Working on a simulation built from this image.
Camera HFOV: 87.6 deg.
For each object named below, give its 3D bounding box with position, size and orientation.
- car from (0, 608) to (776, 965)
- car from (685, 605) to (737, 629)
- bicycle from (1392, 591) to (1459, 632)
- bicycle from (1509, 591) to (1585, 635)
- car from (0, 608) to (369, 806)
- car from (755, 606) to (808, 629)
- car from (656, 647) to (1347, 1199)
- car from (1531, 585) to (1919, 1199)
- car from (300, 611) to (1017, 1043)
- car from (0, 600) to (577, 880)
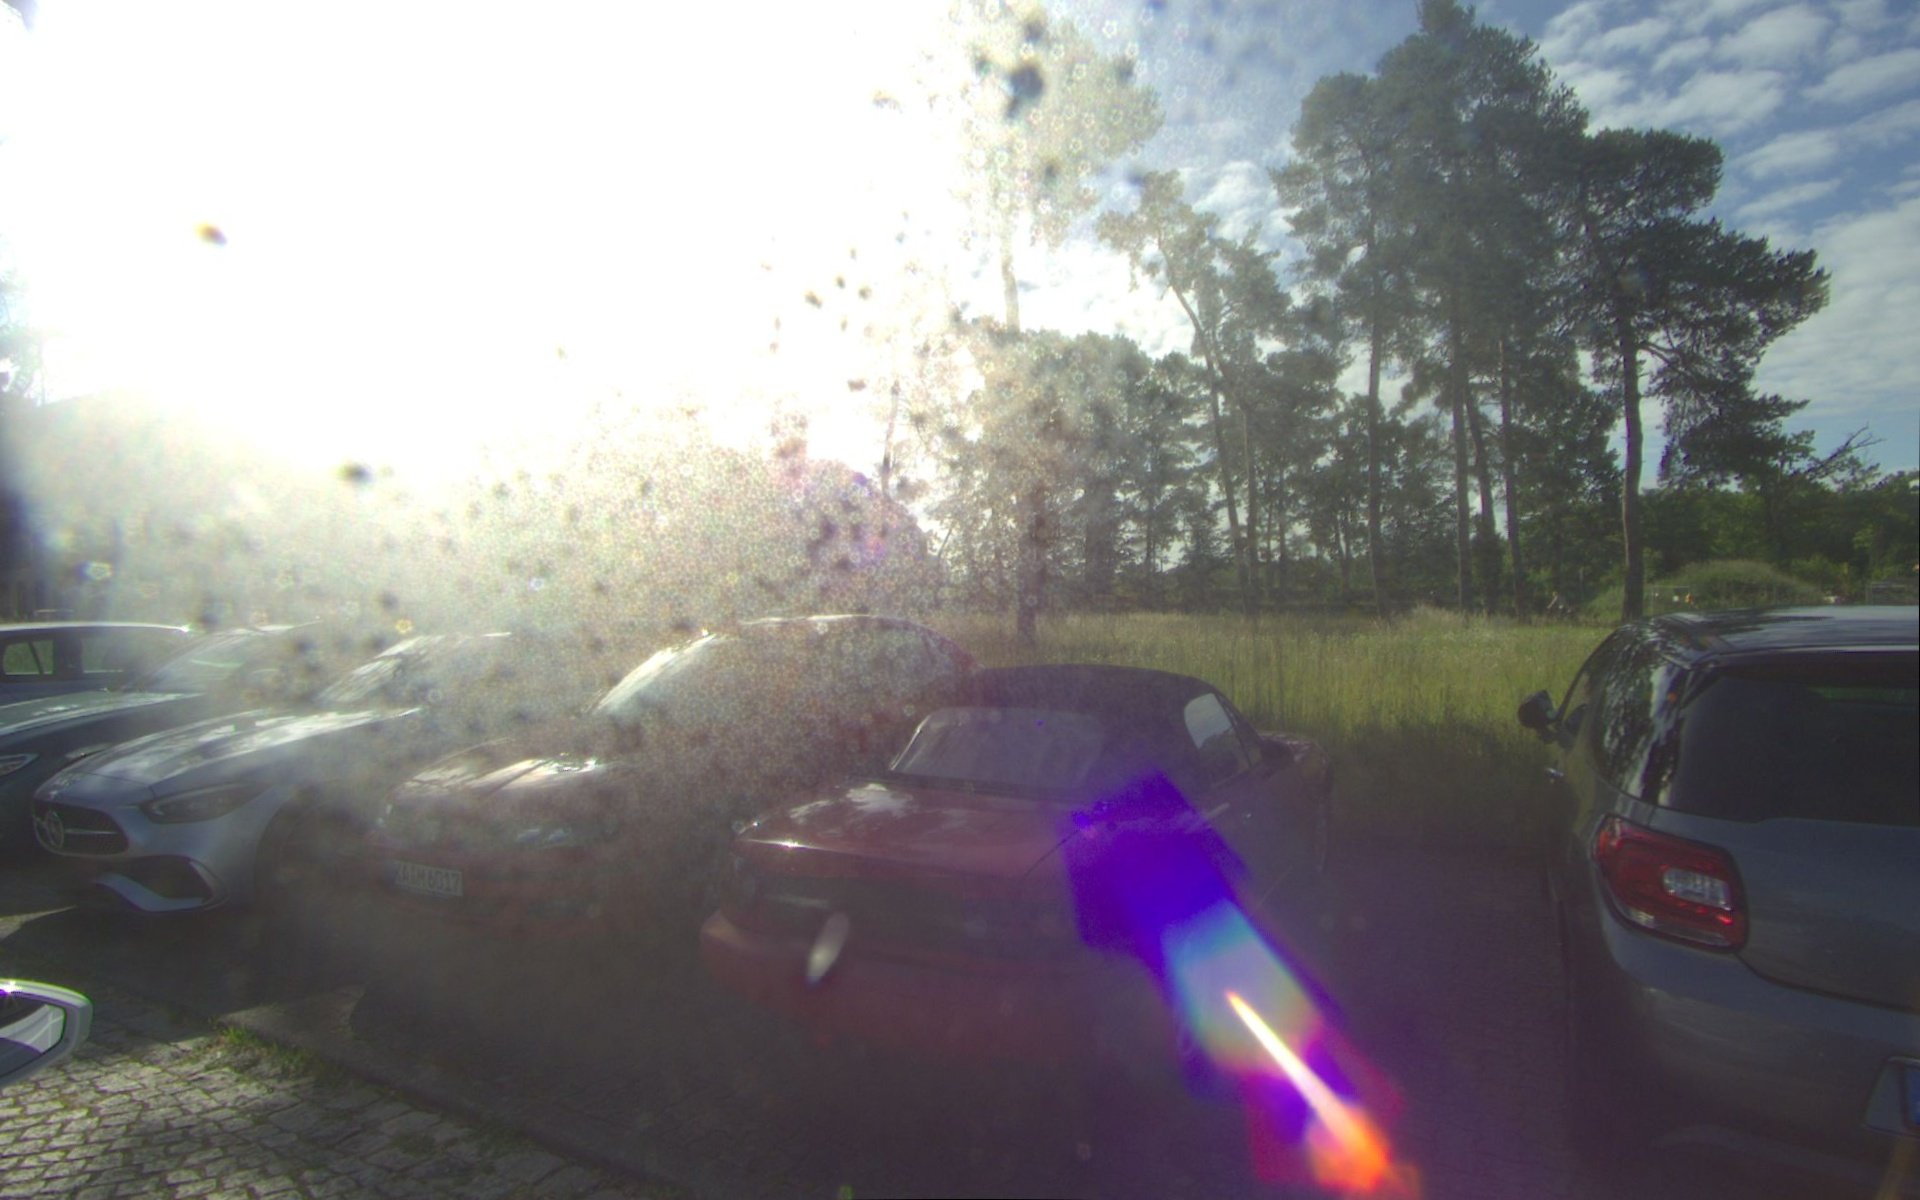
[{"bbox_3d":[-3.321,0.841,6.711,1.761,1.407,4.394,-1,1,28],"label":"car"},{"bbox_3d":[-18.870,1.279,75.962,1.741,1.693,3.629,-1,0,31],"label":"car"},{"bbox_3d":[24.462,0.599,52.637,3.083,2.040,0.949,-3,0,28],"label":"bicycle"},{"bbox_3d":[28.914,0.659,49.396,3.082,2.040,0.950,-3,0,27],"label":"bicycle"},{"bbox_3d":[-7.843,0.883,9.331,1.640,1.463,3.667,-1,2,29],"label":"car"},{"bbox_3d":[-12.759,1.250,71.688,1.741,1.517,3.629,-1,0,31],"label":"car"},{"bbox_3d":[0.568,0.903,4.213,1.513,1.259,3.456,-1,0,29],"label":"car"},{"bbox_3d":[2.925,0.742,3.395,1.641,1.475,3.657,-1,2,29],"label":"car"},{"bbox_3d":[-1.249,0.861,5.795,1.630,1.468,3.974,-1,1,28],"label":"car"},{"bbox_3d":[-5.610,0.844,8.134,1.840,1.476,4.614,-1,2,26],"label":"car"}]
